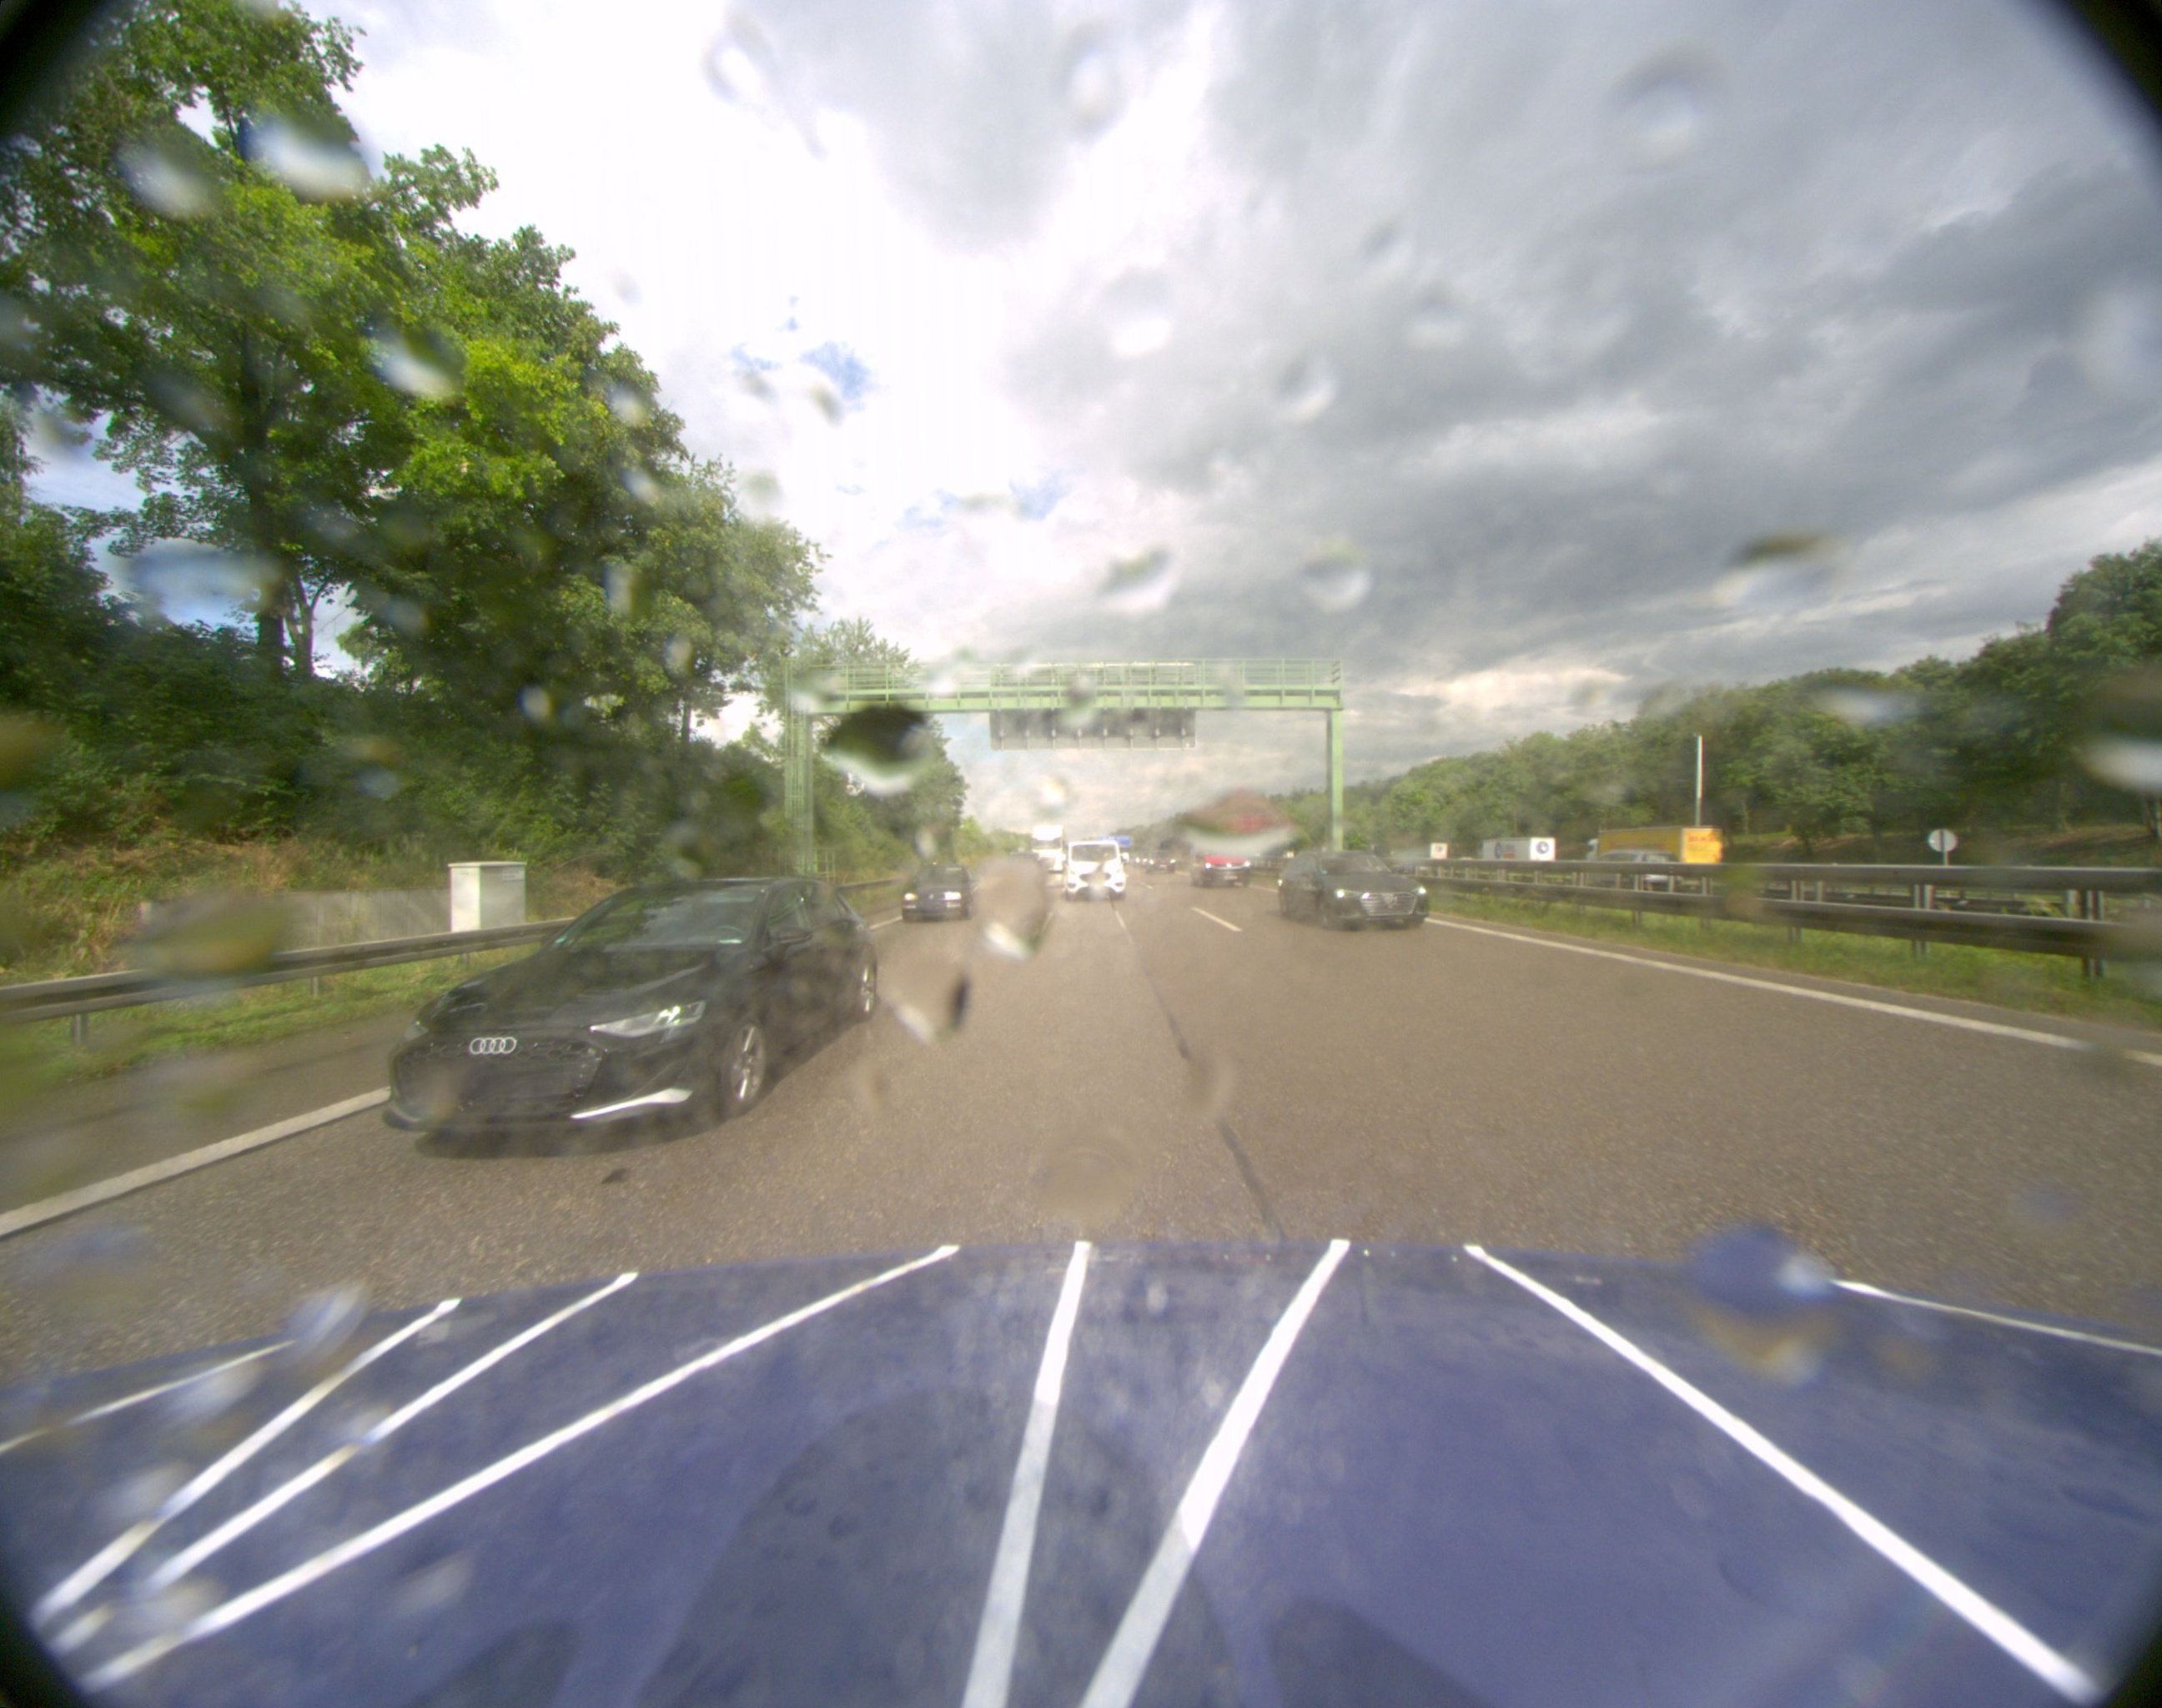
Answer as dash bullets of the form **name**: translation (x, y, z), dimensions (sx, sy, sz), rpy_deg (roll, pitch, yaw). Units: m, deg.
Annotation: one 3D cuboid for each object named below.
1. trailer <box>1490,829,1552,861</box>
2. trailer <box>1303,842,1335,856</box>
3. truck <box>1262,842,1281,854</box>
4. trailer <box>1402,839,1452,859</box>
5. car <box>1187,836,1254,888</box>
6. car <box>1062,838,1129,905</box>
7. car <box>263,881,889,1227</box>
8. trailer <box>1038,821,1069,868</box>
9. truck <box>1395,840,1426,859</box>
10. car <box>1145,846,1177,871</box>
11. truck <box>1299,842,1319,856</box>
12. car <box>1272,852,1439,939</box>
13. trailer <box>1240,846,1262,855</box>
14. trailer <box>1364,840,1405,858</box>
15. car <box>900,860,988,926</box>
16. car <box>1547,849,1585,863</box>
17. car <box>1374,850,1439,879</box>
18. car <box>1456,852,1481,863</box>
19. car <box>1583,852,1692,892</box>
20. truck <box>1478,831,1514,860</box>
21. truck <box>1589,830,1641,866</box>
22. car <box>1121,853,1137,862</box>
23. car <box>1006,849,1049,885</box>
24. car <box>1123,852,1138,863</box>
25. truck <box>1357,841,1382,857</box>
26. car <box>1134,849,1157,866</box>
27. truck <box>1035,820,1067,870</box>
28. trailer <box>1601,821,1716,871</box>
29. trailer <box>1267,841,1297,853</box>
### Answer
- **trailer**: translation (52.718, -1.020, 91.381), dimensions (2.187, 3.579, 11.726), rpy_deg (0, 0, 8)
- **trailer**: translation (55.639, -1.222, 178.030), dimensions (3.193, 3.252, 12.644), rpy_deg (0, 0, -2)
- **truck**: translation (52.588, -1.562, 210.011), dimensions (3.082, 3.237, 6.093), rpy_deg (0, 1, -7)
- **trailer**: translation (56.604, -0.797, 124.643), dimensions (3.026, 3.174, 12.175), rpy_deg (0, 0, 2)
- **car**: translation (5.792, 0.320, 32.159), dimensions (1.895, 1.973, 4.750), rpy_deg (-2, 0, 0)
- **car**: translation (0.458, 0.528, 25.736), dimensions (1.985, 1.973, 5.168), rpy_deg (-2, 0, 0)
- **car**: translation (-2.917, 1.018, 5.750), dimensions (1.759, 1.388, 4.368), rpy_deg (-2, 0, 0)
- **trailer**: translation (-2.549, -0.878, 73.924), dimensions (2.451, 4.095, 12.214), rpy_deg (-2, 1, 0)
- **truck**: translation (56.843, -0.831, 131.252), dimensions (3.049, 3.165, 5.597), rpy_deg (0, 0, 2)
- **car**: translation (5.791, 0.301, 55.459), dimensions (1.895, 1.660, 4.294), rpy_deg (-2, 0, 0)
- **truck**: translation (55.380, -1.243, 184.869), dimensions (3.182, 3.237, 5.389), rpy_deg (0, 1, -2)
- **car**: translation (5.252, 0.704, 15.219), dimensions (1.723, 1.403, 4.467), rpy_deg (-2, 0, 0)
- **trailer**: translation (49.843, -1.012, 223.024), dimensions (2.537, 2.559, 9.869), rpy_deg (-2, 1, -11)
- **trailer**: translation (56.964, -0.967, 142.990), dimensions (2.611, 3.252, 12.647), rpy_deg (0, 0, 0)
- **car**: translation (-3.475, 0.940, 19.878), dimensions (1.655, 1.448, 3.744), rpy_deg (-2, 0, -1)
- **car**: translation (51.027, 0.212, 80.018), dimensions (1.898, 1.494, 4.002), rpy_deg (0, 0, 8)
- **car**: translation (18.321, 0.553, 42.971), dimensions (1.926, 1.571, 4.000), rpy_deg (-1, 0, 0)
- **car**: translation (55.554, 0.497, 109.026), dimensions (1.899, 1.494, 4.001), rpy_deg (0, 0, 4)
- **car**: translation (22.356, 0.686, 30.715), dimensions (1.635, 1.473, 3.786), rpy_deg (-2, 0, 1)
- **truck**: translation (53.694, -1.050, 98.418), dimensions (2.167, 3.599, 5.581), rpy_deg (0, 0, 8)
- **truck**: translation (48.539, -0.553, 69.157), dimensions (1.979, 3.080, 5.080), rpy_deg (-2, 1, 12)
- **car**: translation (6.714, 0.513, 106.962), dimensions (1.888, 1.228, 4.506), rpy_deg (-2, 0, 0)
- **car**: translation (-2.797, 0.648, 40.859), dimensions (1.831, 1.793, 5.305), rpy_deg (-1, 0, 0)
- **car**: translation (6.220, 0.441, 95.928), dimensions (1.675, 1.228, 4.000), rpy_deg (-2, 0, 0)
- **truck**: translation (56.965, -1.022, 150.118), dimensions (2.582, 3.232, 6.535), rpy_deg (0, 1, 0)
- **car**: translation (6.354, 0.346, 75.514), dimensions (1.895, 1.557, 4.053), rpy_deg (-2, 0, 0)
- **truck**: translation (-2.558, -0.754, 66.425), dimensions (2.460, 4.080, 5.332), rpy_deg (-2, 0, 0)
- **trailer**: translation (47.033, -0.714, 62.544), dimensions (1.997, 3.673, 13.669), rpy_deg (-2, 1, 13)
- **trailer**: translation (53.404, -1.811, 202.768), dimensions (3.086, 3.252, 13.401), rpy_deg (0, 0, -6)
